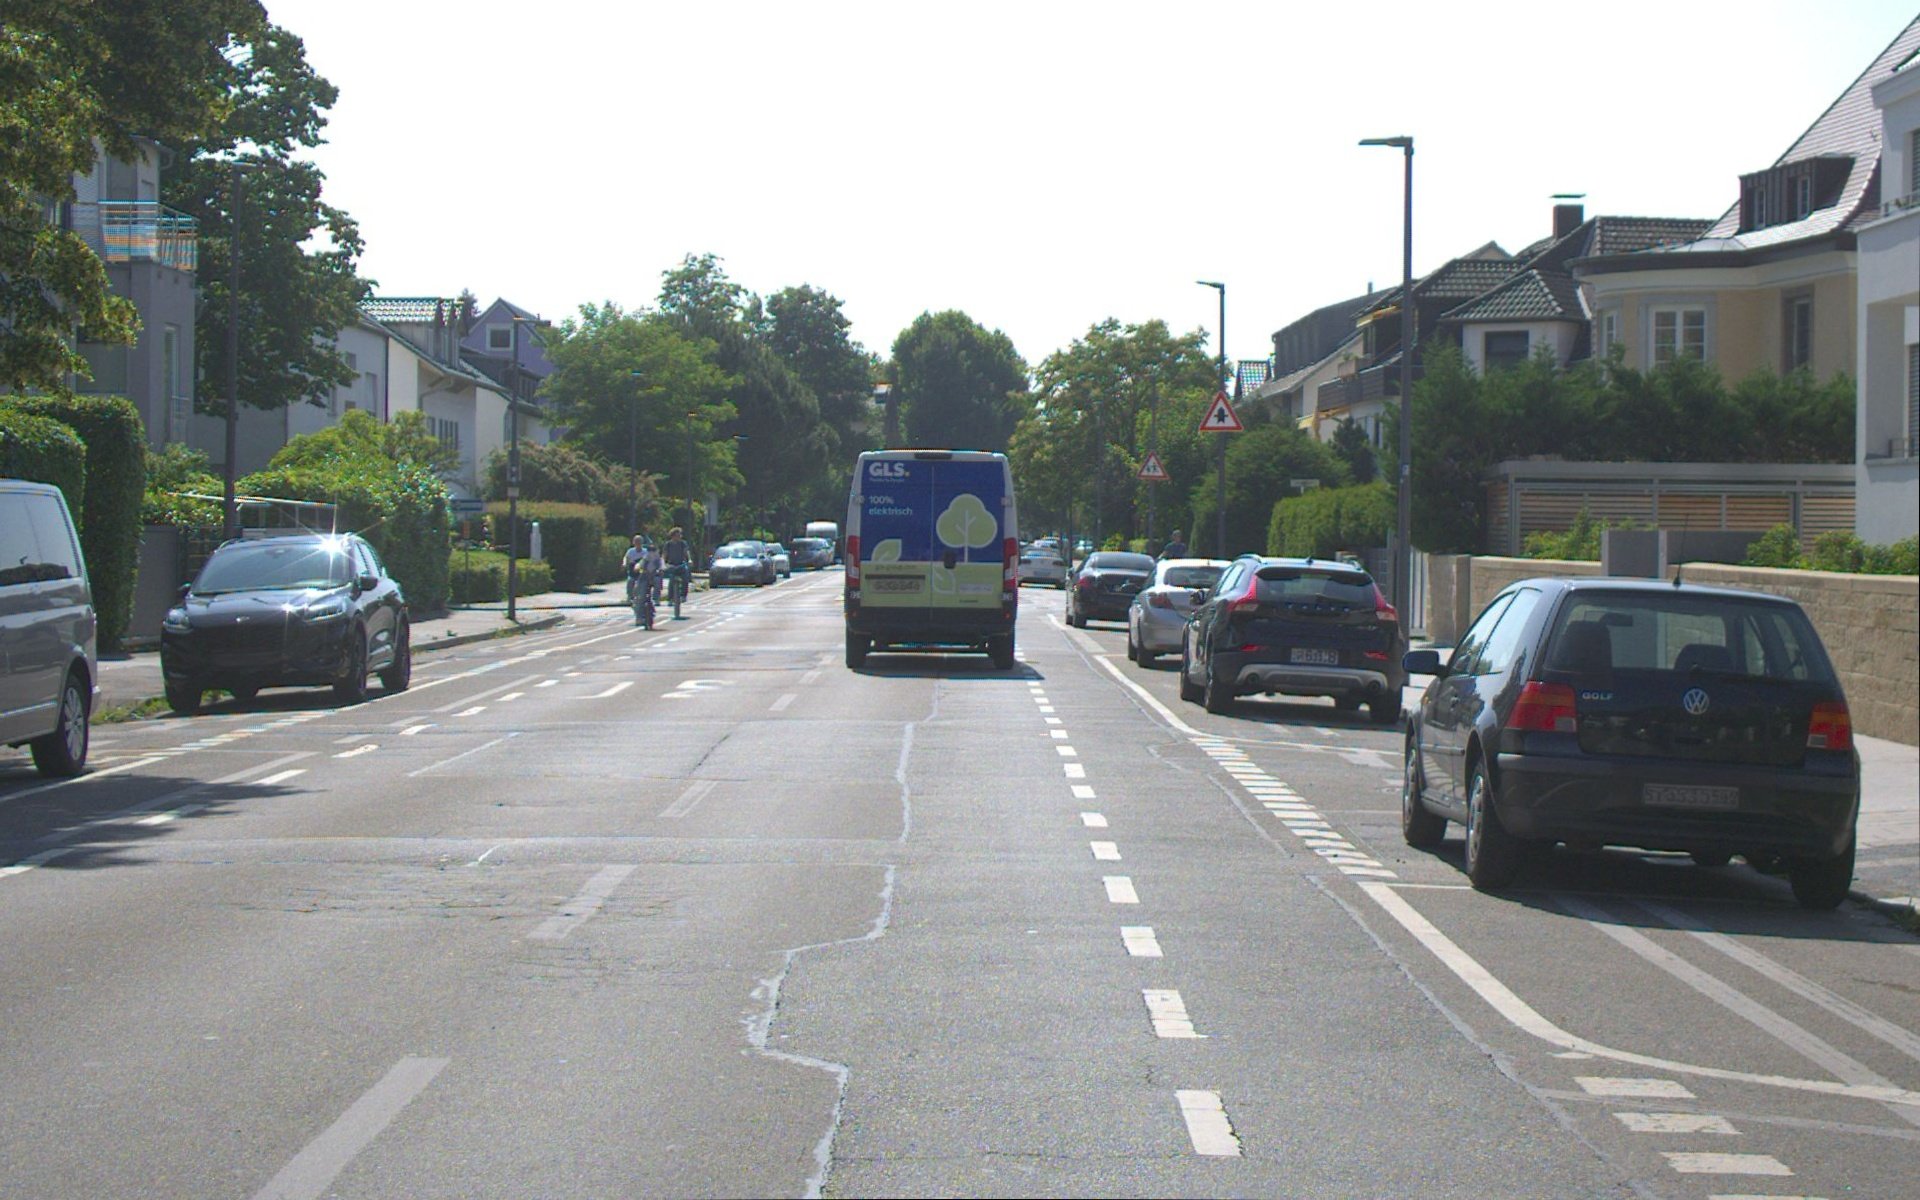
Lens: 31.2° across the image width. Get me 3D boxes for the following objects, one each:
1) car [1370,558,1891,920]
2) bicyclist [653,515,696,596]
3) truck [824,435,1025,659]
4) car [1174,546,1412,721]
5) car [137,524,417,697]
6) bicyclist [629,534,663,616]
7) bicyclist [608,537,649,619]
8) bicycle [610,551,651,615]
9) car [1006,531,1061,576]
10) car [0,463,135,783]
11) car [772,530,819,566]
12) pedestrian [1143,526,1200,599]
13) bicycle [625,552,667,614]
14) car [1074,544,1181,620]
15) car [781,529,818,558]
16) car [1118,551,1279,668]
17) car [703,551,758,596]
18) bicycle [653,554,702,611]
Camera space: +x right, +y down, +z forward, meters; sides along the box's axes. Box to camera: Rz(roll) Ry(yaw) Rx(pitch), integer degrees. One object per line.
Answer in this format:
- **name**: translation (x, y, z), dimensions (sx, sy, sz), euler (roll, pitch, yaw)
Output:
- **car**: translation (3.115, 0.574, 16.752), dimensions (1.619, 1.444, 4.000), euler (4, 1, -1)
- **bicyclist**: translation (-5.917, -0.923, 71.302), dimensions (0.749, 1.662, 1.022), euler (-1, 1, 0)
- **truck**: translation (-0.497, -0.647, 42.099), dimensions (2.272, 2.562, 4.393), euler (1, 1, -3)
- **car**: translation (3.096, 0.270, 32.668), dimensions (1.722, 1.444, 4.169), euler (4, 1, -1)
- **car**: translation (-6.673, 0.074, 34.052), dimensions (1.851, 1.605, 4.448), euler (0, 1, 1)
- **bicyclist**: translation (-5.690, -0.455, 62.348), dimensions (0.490, 1.449, 0.964), euler (-1, 1, 0)
- **bicyclist**: translation (-6.463, -0.424, 67.049), dimensions (0.676, 1.575, 0.859), euler (-1, 1, 0)
- **bicycle**: translation (-6.422, -0.344, 67.048), dimensions (0.559, 1.181, 2.036), euler (-1, 2, 0)
- **car**: translation (2.524, -1.628, 118.773), dimensions (1.740, 1.397, 4.075), euler (0, 3, -1)
- **car**: translation (-6.663, 0.141, 20.893), dimensions (1.885, 1.913, 4.868), euler (-1, 1, 3)
- **car**: translation (-6.635, -2.113, 139.022), dimensions (1.785, 1.435, 4.000), euler (1, 1, -1)
- **pedestrian**: translation (5.428, -0.966, 88.121), dimensions (0.898, 1.866, 1.189), euler (1, 1, -33)
- **bicycle**: translation (-5.691, -0.320, 62.329), dimensions (0.600, 1.101, 1.346), euler (-1, 1, 0)
- **car**: translation (3.062, -0.350, 63.695), dimensions (1.736, 1.324, 4.260), euler (1, 1, 0)
- **car**: translation (-8.073, -2.848, 173.262), dimensions (1.780, 1.455, 4.086), euler (1, 1, -1)
- **car**: translation (3.042, 0.116, 44.585), dimensions (1.737, 1.324, 4.076), euler (4, 0, 0)
- **car**: translation (-7.695, -0.890, 115.584), dimensions (1.785, 1.435, 4.155), euler (-1, 1, -3)
- **bicycle**: translation (-5.891, -0.379, 71.783), dimensions (0.782, 1.162, 2.420), euler (-1, 1, 0)
